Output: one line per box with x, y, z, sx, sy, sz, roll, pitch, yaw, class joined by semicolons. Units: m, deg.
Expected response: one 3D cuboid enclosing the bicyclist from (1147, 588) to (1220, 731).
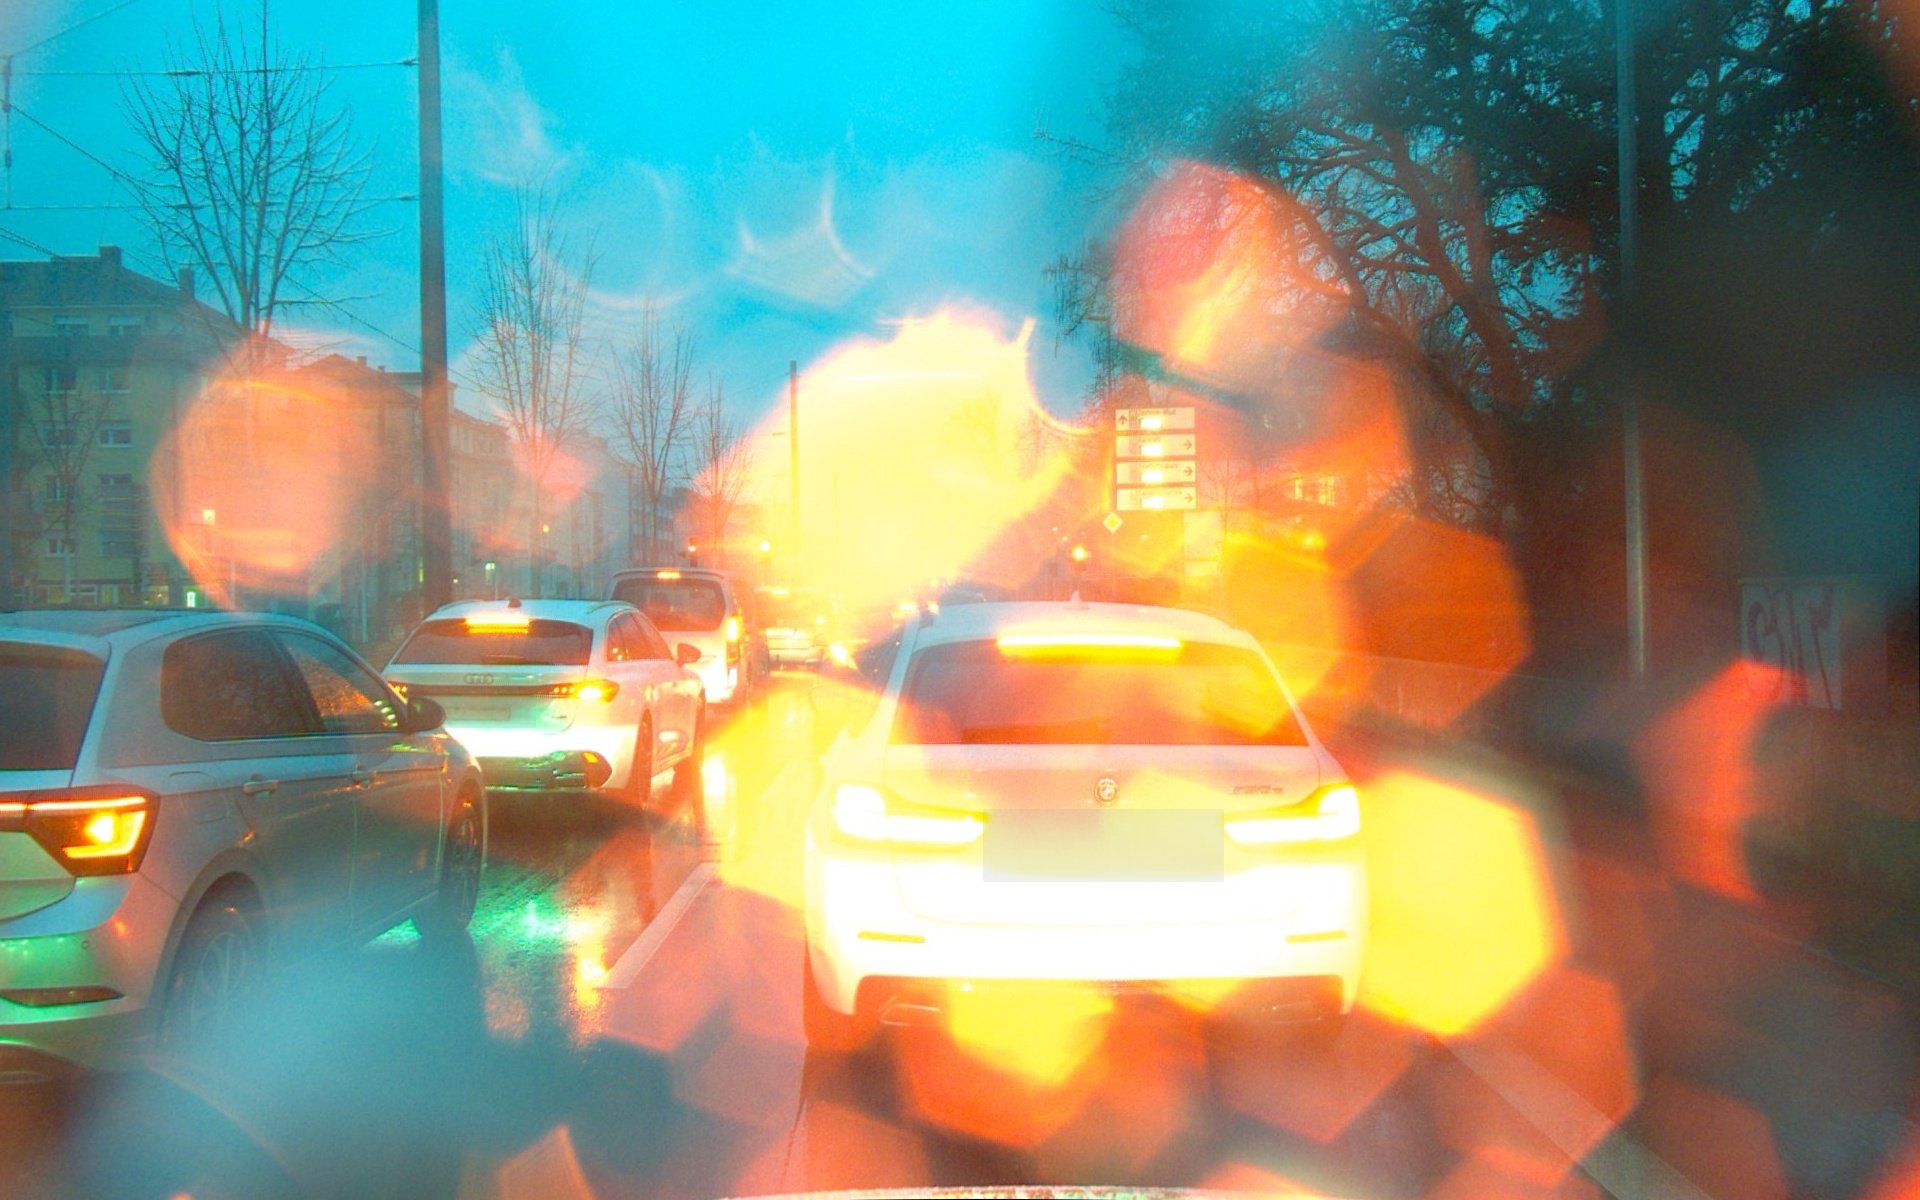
2.281;0.590;16.979;0.632;1.413;0.890;-1;0;1;bicyclist

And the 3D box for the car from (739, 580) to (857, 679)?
-2.846;0.485;29.831;1.770;1.674;3.999;0;0;-1;car

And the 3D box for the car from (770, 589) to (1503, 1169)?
0.447;0.728;6.493;1.958;1.534;4.162;0;0;-1;car

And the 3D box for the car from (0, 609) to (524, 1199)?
-2.887;0.747;5.883;1.727;1.395;3.980;0;0;-2;car

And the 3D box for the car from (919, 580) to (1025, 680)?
0.178;0.497;29.809;1.770;1.674;3.999;0;0;-1;car

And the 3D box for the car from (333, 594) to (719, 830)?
-2.979;0.688;12.407;1.809;1.430;4.612;0;0;-2;car

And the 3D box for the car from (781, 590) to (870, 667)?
-3.037;0.605;38.003;1.770;1.674;3.999;0;0;-1;car

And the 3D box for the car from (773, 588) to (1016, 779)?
-0.542;0.640;15.036;1.896;1.483;4.162;0;0;-1;car

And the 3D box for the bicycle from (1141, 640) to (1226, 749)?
2.285;0.946;17.090;0.632;0.983;2.047;-1;0;1;bicycle

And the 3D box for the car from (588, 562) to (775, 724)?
-3.310;0.479;20.411;1.758;1.766;4.534;0;0;-3;car
